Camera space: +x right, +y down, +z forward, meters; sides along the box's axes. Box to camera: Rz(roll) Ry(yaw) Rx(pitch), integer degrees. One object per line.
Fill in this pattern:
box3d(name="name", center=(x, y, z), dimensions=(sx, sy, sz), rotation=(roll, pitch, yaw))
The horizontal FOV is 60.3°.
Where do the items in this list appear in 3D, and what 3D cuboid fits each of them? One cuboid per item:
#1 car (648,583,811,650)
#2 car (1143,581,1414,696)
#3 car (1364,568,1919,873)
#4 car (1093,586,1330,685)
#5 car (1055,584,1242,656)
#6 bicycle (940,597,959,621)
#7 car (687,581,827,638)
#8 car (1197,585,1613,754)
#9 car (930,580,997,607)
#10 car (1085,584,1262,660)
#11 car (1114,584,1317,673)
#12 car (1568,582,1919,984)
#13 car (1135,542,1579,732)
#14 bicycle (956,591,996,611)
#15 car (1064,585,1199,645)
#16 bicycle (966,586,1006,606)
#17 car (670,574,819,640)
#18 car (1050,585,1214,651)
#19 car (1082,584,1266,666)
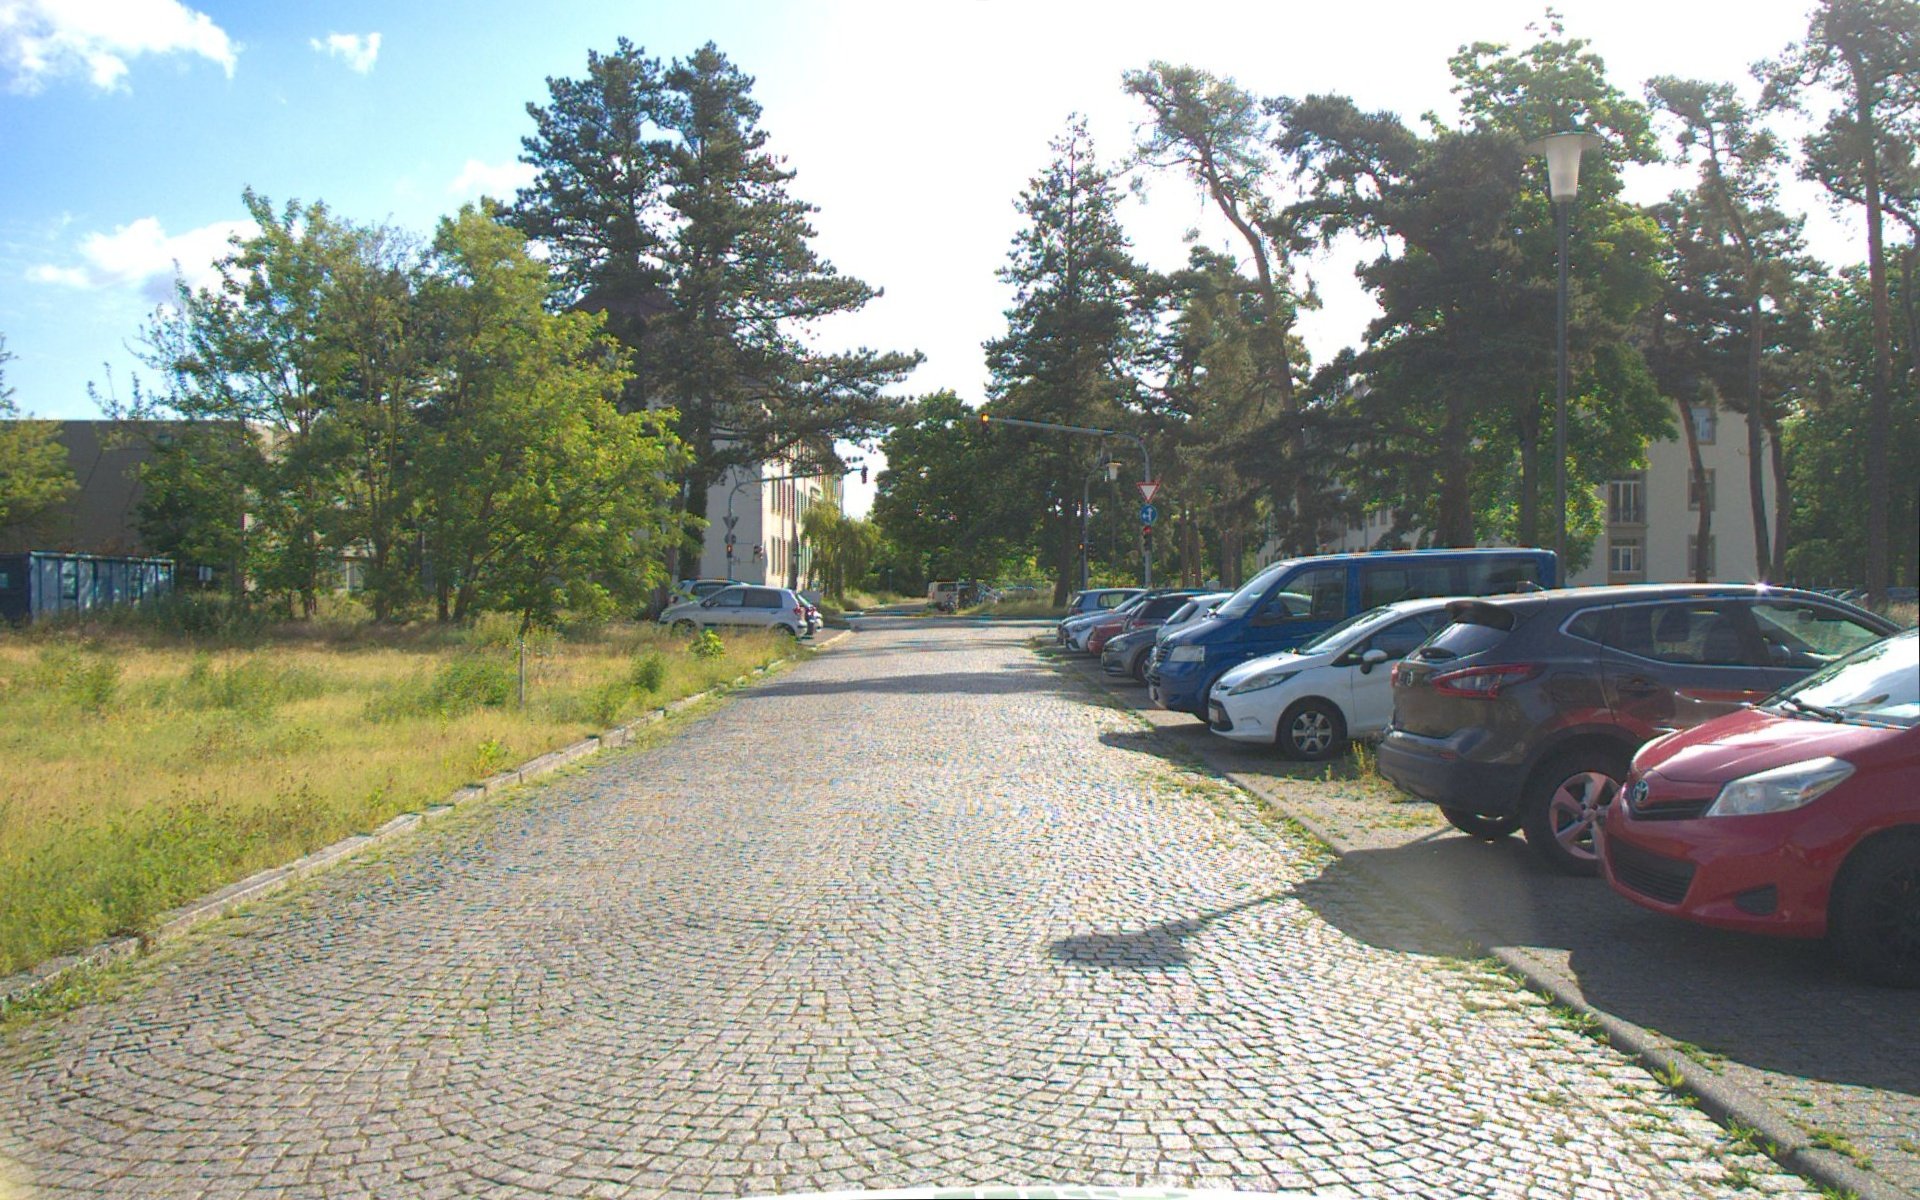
box3d(name="car", center=(-5.771, 0.388, 41.784), dimensions=(3.908, 1.628, 1.999), rotation=(0, 1, -3))
box3d(name="car", center=(4.602, 0.534, 24.232), dimensions=(3.618, 1.491, 1.645), rotation=(-2, 0, 0))
box3d(name="car", center=(4.583, 0.642, 9.957), dimensions=(3.856, 1.650, 1.771), rotation=(0, 1, -2))
box3d(name="car", center=(4.068, 0.557, 27.113), dimensions=(3.601, 1.492, 1.645), rotation=(-1, 0, -2))
box3d(name="car", center=(4.209, 0.425, 37.265), dimensions=(3.955, 1.556, 1.644), rotation=(0, 1, -4))
box3d(name="bicycle", center=(-0.559, 0.465, 88.155), dimensions=(0.789, 1.190, 2.177), rotation=(-2, 1, -6))
box3d(name="car", center=(-6.052, 0.272, 49.571), dimensions=(3.906, 1.478, 2.000), rotation=(3, 0, -1))
box3d(name="car", center=(4.320, 0.643, 16.373), dimensions=(3.645, 1.514, 1.644), rotation=(-1, 1, -3))
box3d(name="car", center=(0.223, -0.436, 109.093), dimensions=(4.389, 1.758, 2.000), rotation=(0, 0, -1))
box3d(name="car", center=(4.509, 0.444, 35.190), dimensions=(3.530, 1.556, 1.645), rotation=(0, 1, -2))
box3d(name="car", center=(4.596, 0.496, 30.038), dimensions=(3.408, 1.556, 1.645), rotation=(0, 1, -2))
box3d(name="car", center=(4.823, 0.699, 7.293), dimensions=(3.686, 1.557, 1.645), rotation=(0, 1, -1))
box3d(name="car", center=(4.458, 0.381, 19.052), dimensions=(4.584, 2.049, 2.082), rotation=(0, 0, -4))
box3d(name="bicycle", center=(0.880, 0.058, 91.631), dimensions=(2.134, 1.119, 0.805), rotation=(0, 0, -11))
box3d(name="car", center=(4.403, 0.372, 42.679), dimensions=(3.276, 1.508, 1.645), rotation=(0, 1, -2))
box3d(name="bicycle", center=(1.437, -0.223, 92.826), dimensions=(2.134, 1.119, 0.805), rotation=(0, 0, -11))
box3d(name="car", center=(-6.098, 0.191, 47.169), dimensions=(3.906, 1.629, 2.000), rotation=(3, 0, -1))
box3d(name="car", center=(4.131, 0.422, 40.036), dimensions=(3.758, 1.556, 1.645), rotation=(0, 1, -2))
box3d(name="car", center=(4.197, 0.469, 32.725), dimensions=(3.408, 1.556, 1.645), rotation=(0, 1, -2))
